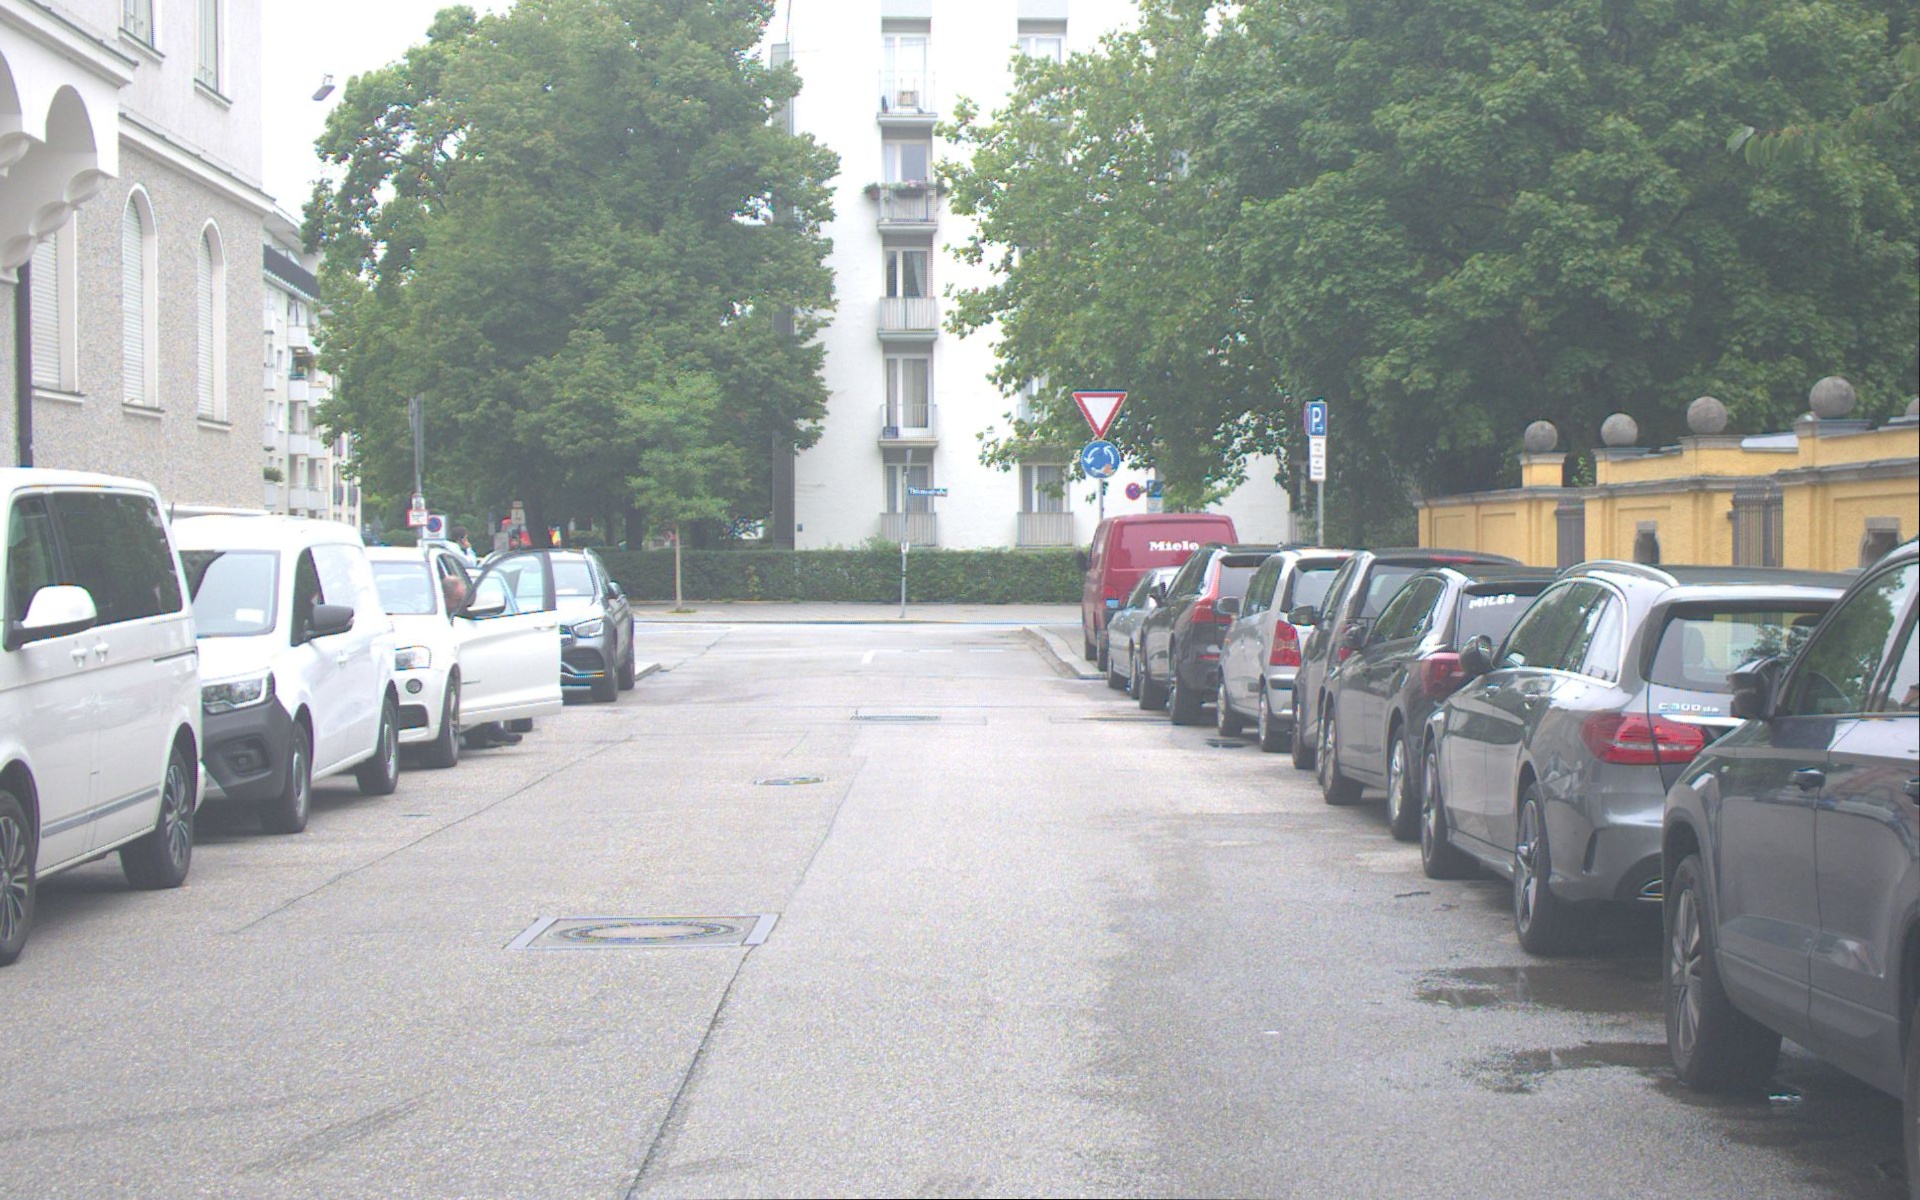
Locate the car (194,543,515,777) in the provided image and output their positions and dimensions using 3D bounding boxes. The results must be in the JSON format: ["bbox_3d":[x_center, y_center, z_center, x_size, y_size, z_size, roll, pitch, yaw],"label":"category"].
[{"bbox_3d":[-4.542,0.387,26.392,1.746,1.597,4.497,-1,1,-1],"label":"car"}]

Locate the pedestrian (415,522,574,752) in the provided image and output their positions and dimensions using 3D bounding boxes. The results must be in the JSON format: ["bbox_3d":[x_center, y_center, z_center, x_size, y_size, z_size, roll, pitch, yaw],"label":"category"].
[{"bbox_3d":[-3.627,0.271,26.741,0.961,1.750,0.877,0,1,-30],"label":"pedestrian"}]

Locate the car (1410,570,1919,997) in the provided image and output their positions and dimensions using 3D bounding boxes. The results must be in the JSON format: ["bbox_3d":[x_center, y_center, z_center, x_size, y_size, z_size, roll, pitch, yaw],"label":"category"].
[{"bbox_3d":[2.942,0.603,13.917,1.692,1.410,4.516,0,1,1],"label":"car"}]

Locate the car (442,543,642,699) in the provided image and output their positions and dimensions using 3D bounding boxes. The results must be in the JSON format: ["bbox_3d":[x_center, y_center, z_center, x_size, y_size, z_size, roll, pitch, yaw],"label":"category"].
[{"bbox_3d":[-4.581,0.188,38.248,1.746,1.597,4.497,-1,1,-1],"label":"car"}]

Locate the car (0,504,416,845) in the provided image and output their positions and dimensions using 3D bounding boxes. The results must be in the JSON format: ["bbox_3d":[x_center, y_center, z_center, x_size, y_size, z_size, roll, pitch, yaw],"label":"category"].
[{"bbox_3d":[-4.552,0.360,20.771,1.746,1.782,5.037,-1,1,-1],"label":"car"}]

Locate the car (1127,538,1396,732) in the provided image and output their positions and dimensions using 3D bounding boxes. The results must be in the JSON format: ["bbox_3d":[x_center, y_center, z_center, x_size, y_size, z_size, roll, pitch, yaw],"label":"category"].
[{"bbox_3d":[2.754,0.267,32.496,1.884,1.647,4.824,2,1,-2],"label":"car"}]

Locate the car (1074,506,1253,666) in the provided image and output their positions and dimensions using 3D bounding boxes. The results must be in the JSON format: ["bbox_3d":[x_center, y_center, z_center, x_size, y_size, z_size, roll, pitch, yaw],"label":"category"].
[{"bbox_3d":[2.557,-0.212,44.322,1.874,1.914,4.888,1,1,-1],"label":"car"}]

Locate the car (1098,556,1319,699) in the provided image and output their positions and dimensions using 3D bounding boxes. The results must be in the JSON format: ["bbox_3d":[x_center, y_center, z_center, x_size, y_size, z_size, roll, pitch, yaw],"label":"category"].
[{"bbox_3d":[2.719,0.267,38.595,1.884,1.443,4.369,2,1,-3],"label":"car"}]

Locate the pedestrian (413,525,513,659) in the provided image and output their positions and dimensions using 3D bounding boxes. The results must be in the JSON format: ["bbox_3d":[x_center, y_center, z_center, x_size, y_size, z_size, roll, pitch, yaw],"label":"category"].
[{"bbox_3d":[-6.648,-0.118,45.993,1.048,1.765,0.876,-1,1,-33],"label":"pedestrian"}]

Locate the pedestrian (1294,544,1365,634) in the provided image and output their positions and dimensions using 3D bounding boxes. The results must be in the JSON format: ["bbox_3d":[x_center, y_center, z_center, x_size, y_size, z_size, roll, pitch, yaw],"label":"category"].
[{"bbox_3d":[5.520,-0.167,51.375,1.009,1.333,0.876,0,1,3],"label":"pedestrian"}]

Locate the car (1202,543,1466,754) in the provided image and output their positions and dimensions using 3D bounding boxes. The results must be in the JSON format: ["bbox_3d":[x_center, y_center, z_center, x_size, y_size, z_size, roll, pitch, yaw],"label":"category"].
[{"bbox_3d":[2.937,0.337,27.615,1.484,1.534,3.693,2,1,-3],"label":"car"}]

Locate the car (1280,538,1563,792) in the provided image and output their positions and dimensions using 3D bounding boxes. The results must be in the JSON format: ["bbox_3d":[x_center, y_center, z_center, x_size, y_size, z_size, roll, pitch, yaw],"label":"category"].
[{"bbox_3d":[3.055,0.392,23.184,1.508,1.560,2.869,2,1,1],"label":"car"}]

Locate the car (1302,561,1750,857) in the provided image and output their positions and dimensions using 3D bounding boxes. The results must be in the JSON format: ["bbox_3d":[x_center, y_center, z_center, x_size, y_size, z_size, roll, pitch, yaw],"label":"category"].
[{"bbox_3d":[3.021,0.521,19.140,1.692,1.410,4.037,2,1,-1],"label":"car"}]

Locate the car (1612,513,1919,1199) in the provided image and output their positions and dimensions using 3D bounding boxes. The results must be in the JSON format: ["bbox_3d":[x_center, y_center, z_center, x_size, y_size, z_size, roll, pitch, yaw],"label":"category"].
[{"bbox_3d":[2.845,0.582,8.121,1.713,1.565,4.691,0,1,0],"label":"car"}]

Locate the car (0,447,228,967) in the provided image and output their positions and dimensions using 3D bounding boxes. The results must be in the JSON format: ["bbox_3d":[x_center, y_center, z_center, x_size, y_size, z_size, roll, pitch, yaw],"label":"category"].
[{"bbox_3d":[-4.523,0.388,14.417,1.856,1.931,4.958,-1,1,-1],"label":"car"}]
